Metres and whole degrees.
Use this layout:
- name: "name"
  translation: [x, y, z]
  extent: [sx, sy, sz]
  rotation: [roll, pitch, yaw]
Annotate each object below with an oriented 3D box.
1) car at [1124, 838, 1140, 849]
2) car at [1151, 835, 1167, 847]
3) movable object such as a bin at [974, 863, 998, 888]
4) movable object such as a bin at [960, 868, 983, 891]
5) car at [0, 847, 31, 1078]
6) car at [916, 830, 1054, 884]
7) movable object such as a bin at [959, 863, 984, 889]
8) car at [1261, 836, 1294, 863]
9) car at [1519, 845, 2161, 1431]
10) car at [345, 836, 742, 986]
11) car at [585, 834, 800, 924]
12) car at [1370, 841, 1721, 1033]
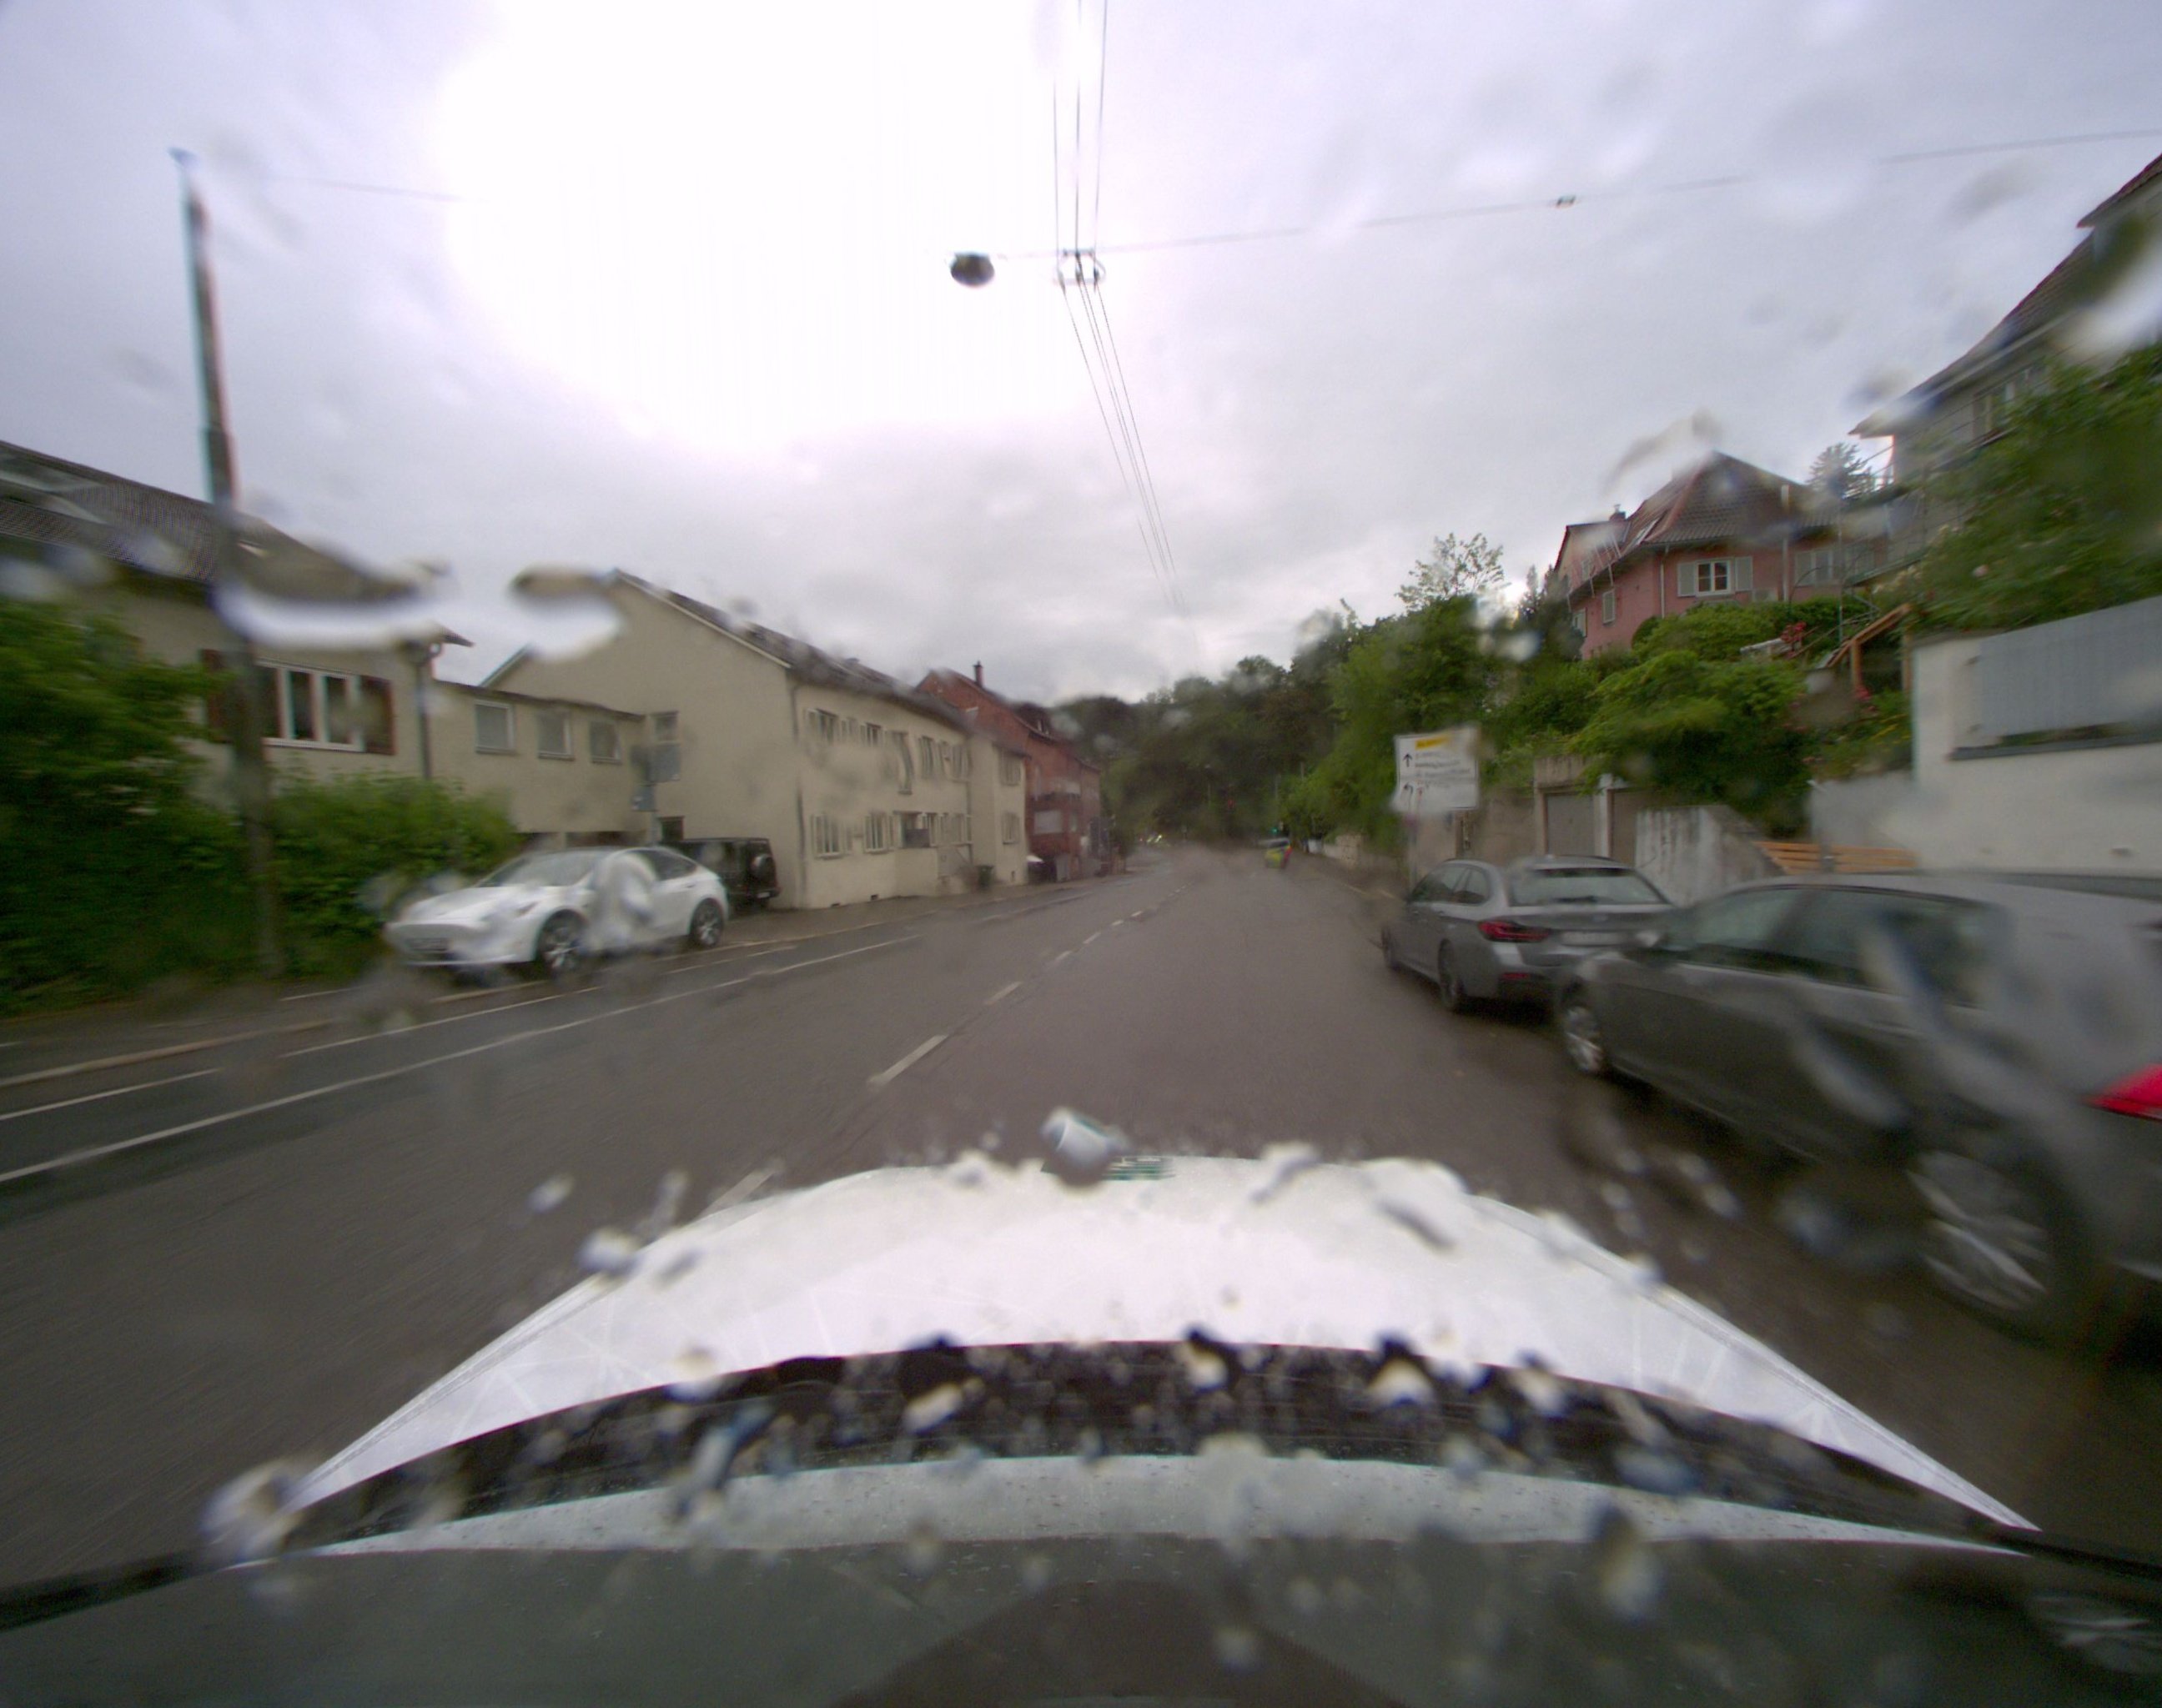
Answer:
- name: "car"
  translation: [8.106, -1.744, 128.882]
  extent: [1.739, 1.550, 3.992]
  rotation: [-6, 2, -6]
- name: "car"
  translation: [11.736, -2.015, 122.037]
  extent: [1.737, 1.550, 3.997]
  rotation: [-5, 2, -2]
- name: "movable object such as a bin"
  translation: [-4.009, 0.898, 34.282]
  extent: [0.776, 1.047, 0.741]
  rotation: [-1, 0, 12]
- name: "movable object such as a bin"
  translation: [-4.384, 1.018, 32.575]
  extent: [0.668, 0.859, 0.711]
  rotation: [-1, 0, 12]
- name: "car"
  translation: [-8.067, 0.710, 3.188]
  extent: [1.798, 1.476, 4.531]
  rotation: [-1, 0, 7]
- name: "car"
  translation: [-4.900, 0.194, 41.930]
  extent: [6.609, 2.554, 2.175]
  rotation: [-2, -2, 12]
- name: "movable object such as a bin"
  translation: [-4.519, 0.910, 33.612]
  extent: [0.776, 1.047, 0.711]
  rotation: [-1, 0, 12]
- name: "car"
  translation: [15.235, -0.299, 63.326]
  extent: [2.293, 1.939, 4.339]
  rotation: [-3, -1, 12]
- name: "car"
  translation: [3.814, 0.703, 3.916]
  extent: [1.632, 1.436, 4.183]
  rotation: [-1, 1, 8]
- name: "car"
  translation: [-6.918, 0.641, 11.281]
  extent: [1.918, 1.631, 4.688]
  rotation: [-1, 0, 8]
- name: "car"
  translation: [-9.697, 0.592, 20.498]
  extent: [4.462, 2.013, 1.893]
  rotation: [-2, 1, 8]
- name: "car"
  translation: [4.502, 0.667, 8.828]
  extent: [1.778, 1.496, 4.718]
  rotation: [-1, 0, 10]
